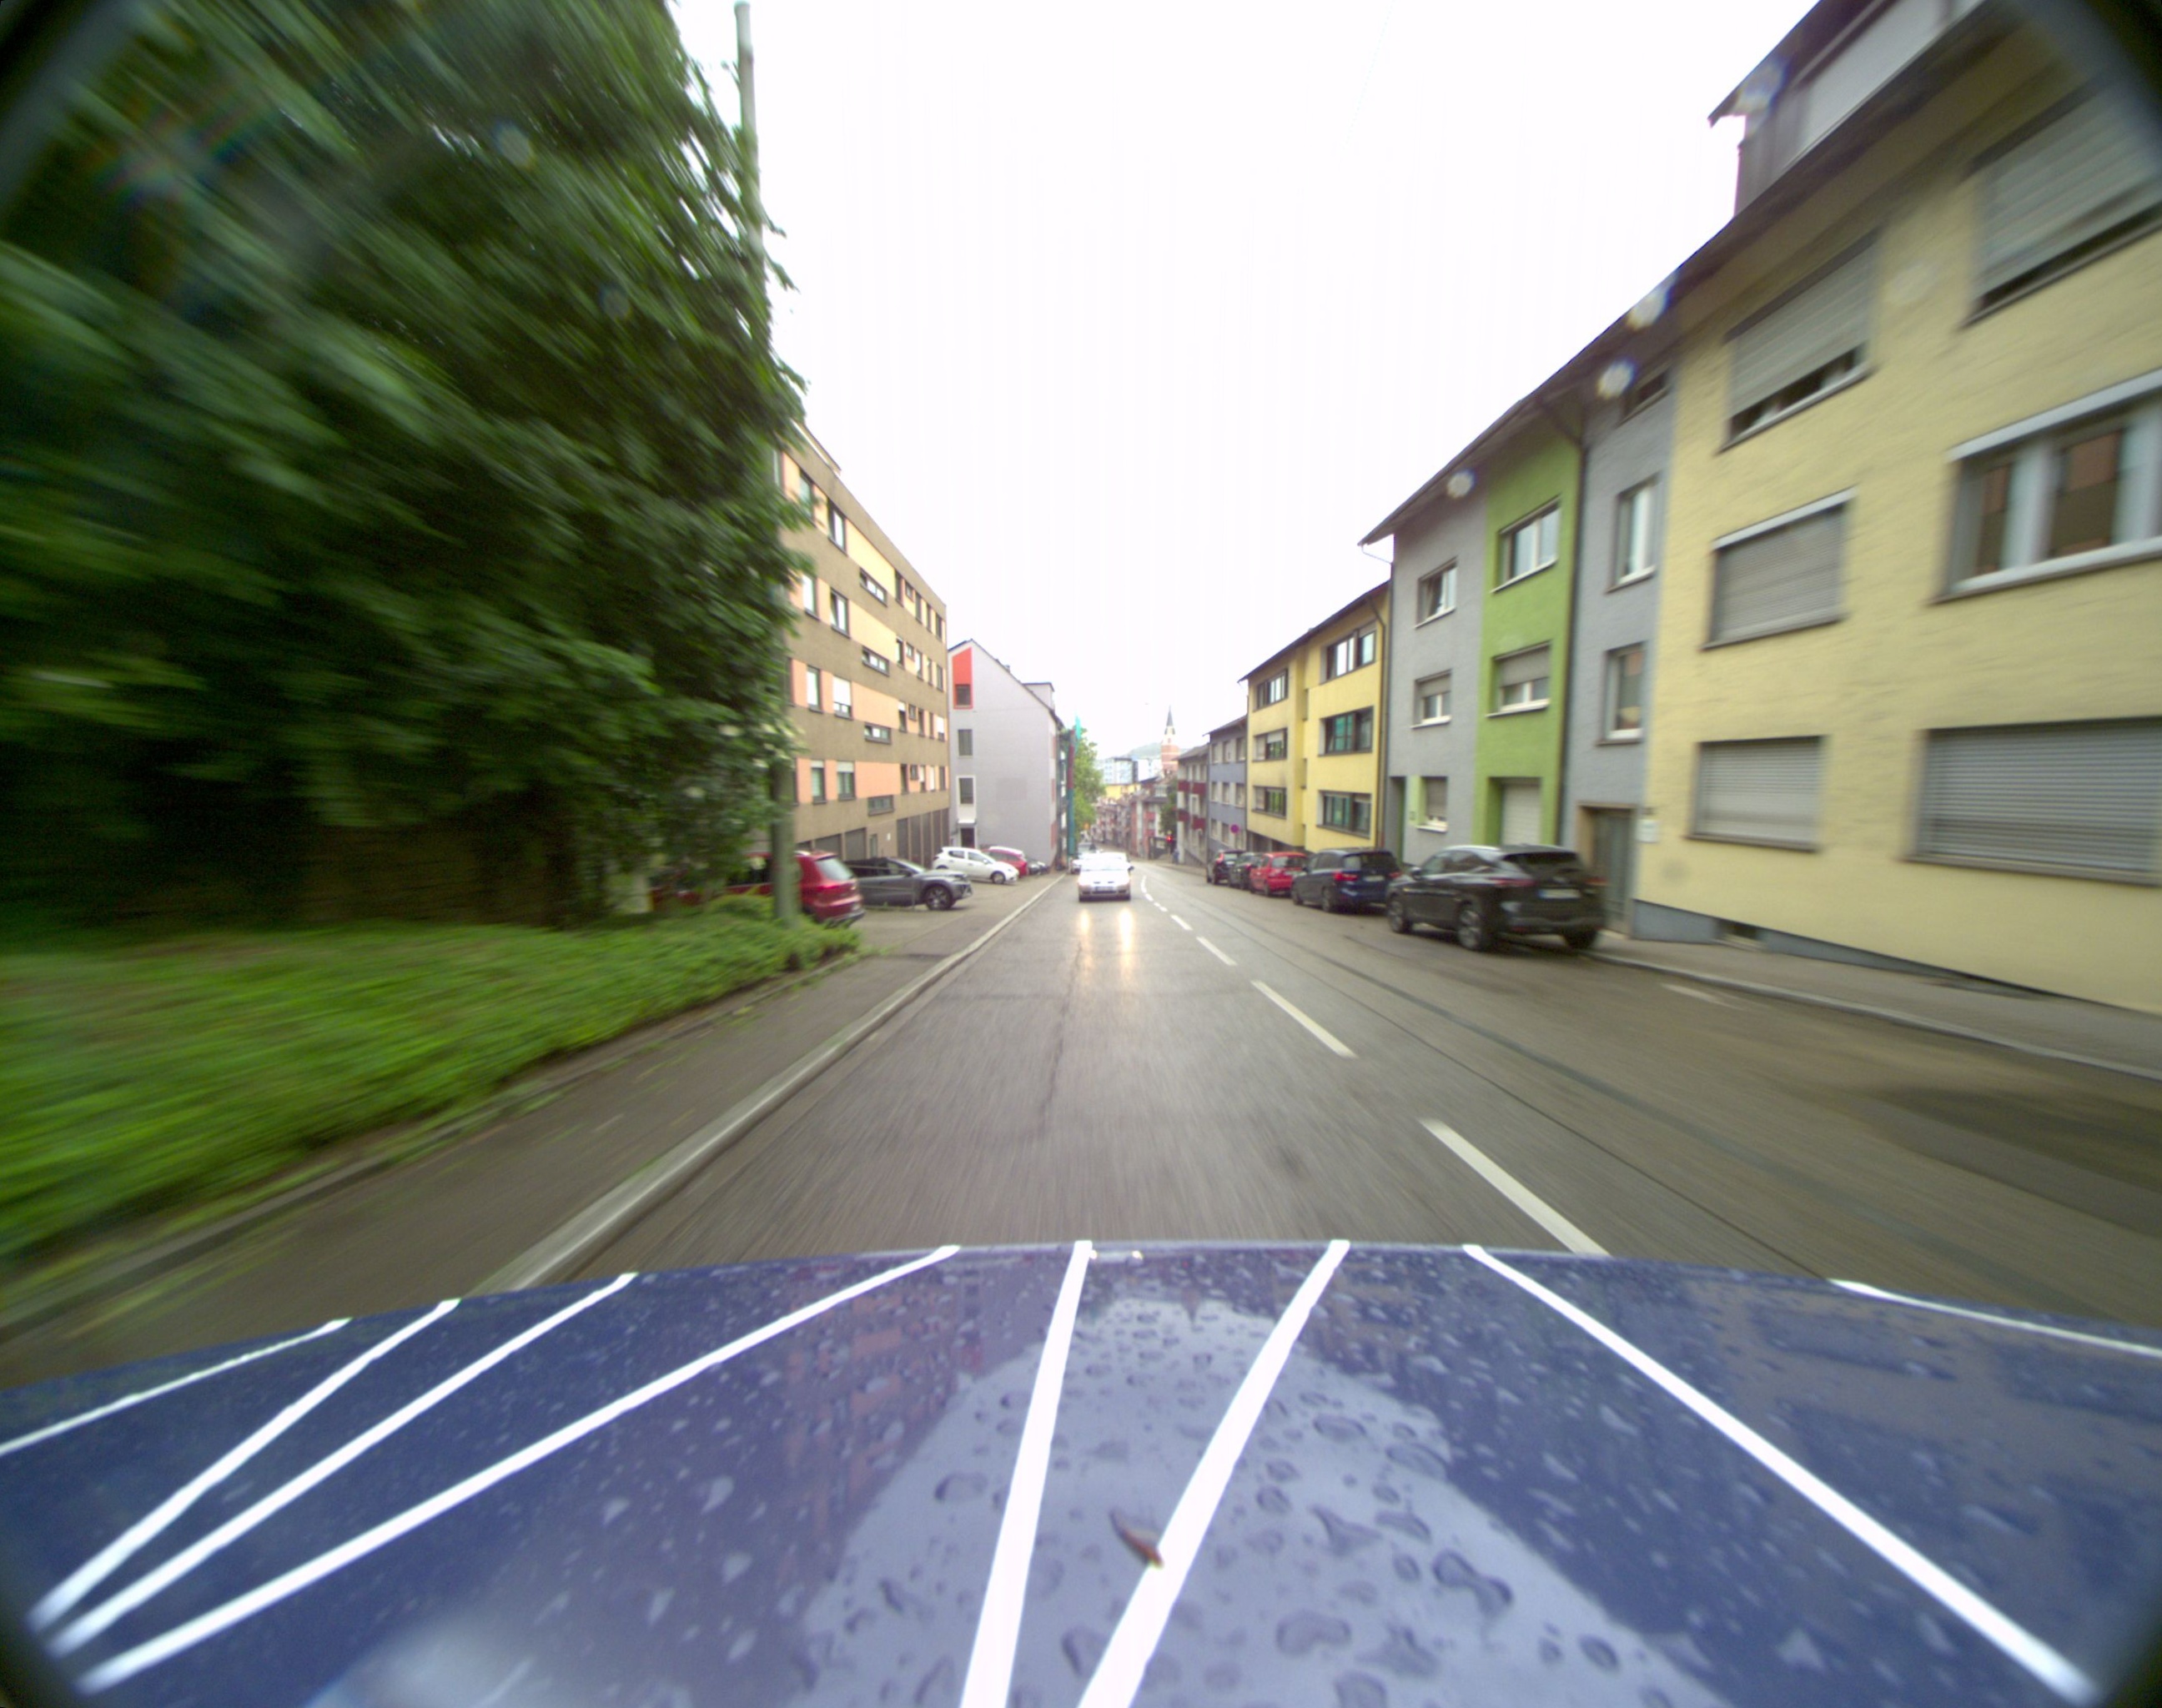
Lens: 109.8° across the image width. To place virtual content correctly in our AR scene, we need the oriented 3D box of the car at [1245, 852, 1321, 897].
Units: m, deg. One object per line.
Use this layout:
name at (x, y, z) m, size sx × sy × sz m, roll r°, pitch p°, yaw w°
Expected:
car at (7.016, 0.658, 26.721) m, size 1.733 × 1.464 × 3.491 m, roll 0°, pitch 0°, yaw 0°

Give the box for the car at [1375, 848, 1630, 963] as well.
car at (6.648, 0.702, 12.632) m, size 1.858 × 1.576 × 4.304 m, roll 0°, pitch 0°, yaw 0°

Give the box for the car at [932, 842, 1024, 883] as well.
car at (-4.721, 0.388, 35.290) m, size 3.972 × 1.521 × 1.692 m, roll 5°, pitch 1°, yaw -3°

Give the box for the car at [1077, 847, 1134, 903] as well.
car at (0.781, 0.645, 25.469) m, size 1.720 × 1.528 × 3.998 m, roll -2°, pitch 3°, yaw 0°

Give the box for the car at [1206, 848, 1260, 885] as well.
car at (7.276, 0.566, 36.813) m, size 1.998 × 1.640 × 4.442 m, roll 0°, pitch 0°, yaw 3°

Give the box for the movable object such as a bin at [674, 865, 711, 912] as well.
movable object such as a bin at (-9.335, 0.813, 18.252) m, size 0.508 × 1.055 × 0.603 m, roll -2°, pitch 3°, yaw 1°

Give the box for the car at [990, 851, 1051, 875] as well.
car at (-3.930, 0.579, 49.690) m, size 3.812 × 1.541 × 1.660 m, roll 0°, pitch 1°, yaw 0°

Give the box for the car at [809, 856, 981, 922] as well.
car at (-4.980, 0.913, 20.779) m, size 4.209 × 1.487 × 1.759 m, roll -3°, pitch 1°, yaw -1°

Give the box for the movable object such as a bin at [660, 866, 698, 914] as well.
movable object such as a bin at (-9.324, 0.828, 17.644) m, size 0.508 × 1.055 × 0.603 m, roll -2°, pitch 3°, yaw 1°

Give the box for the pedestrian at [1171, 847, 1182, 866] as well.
pedestrian at (9.601, 0.260, 76.214) m, size 0.871 × 1.526 × 1.091 m, roll -2°, pitch -21°, yaw 0°

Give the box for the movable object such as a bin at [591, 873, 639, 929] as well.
movable object such as a bin at (-9.325, 0.934, 15.215) m, size 0.508 × 1.055 × 0.603 m, roll -2°, pitch 3°, yaw 1°

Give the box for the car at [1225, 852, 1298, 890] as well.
car at (7.402, 0.660, 31.590) m, size 1.998 × 1.464 × 4.348 m, roll 0°, pitch 0°, yaw 0°

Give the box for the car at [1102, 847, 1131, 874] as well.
car at (2.320, 0.409, 50.398) m, size 1.720 × 1.528 × 3.998 m, roll -2°, pitch 3°, yaw 1°

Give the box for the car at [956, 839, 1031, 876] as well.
car at (-4.870, 0.207, 42.665) m, size 3.836 × 1.692 × 1.728 m, roll 5°, pitch 1°, yaw -1°

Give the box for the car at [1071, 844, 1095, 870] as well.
car at (0.130, 0.216, 54.072) m, size 1.644 × 1.752 × 4.000 m, roll -2°, pitch 0°, yaw 0°

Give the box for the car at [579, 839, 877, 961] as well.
car at (-5.903, 0.733, 13.114) m, size 4.209 × 1.724 × 1.759 m, roll -3°, pitch 1°, yaw -3°

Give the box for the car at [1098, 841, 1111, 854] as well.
car at (3.006, -0.823, 96.782) m, size 1.637 × 1.521 × 4.000 m, roll -2°, pitch 0°, yaw 3°

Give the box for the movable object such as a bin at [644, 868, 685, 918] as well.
movable object such as a bin at (-9.333, 0.864, 17.036) m, size 0.508 × 1.055 × 0.603 m, roll -2°, pitch 3°, yaw 1°

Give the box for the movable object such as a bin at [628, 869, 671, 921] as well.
movable object such as a bin at (-9.313, 0.873, 16.425) m, size 0.508 × 1.055 × 0.603 m, roll -2°, pitch 3°, yaw 1°

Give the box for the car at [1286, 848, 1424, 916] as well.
car at (6.975, 0.646, 19.911) m, size 1.998 × 1.576 × 4.471 m, roll 0°, pitch 0°, yaw 0°

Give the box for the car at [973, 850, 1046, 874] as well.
car at (-4.342, 0.478, 46.490) m, size 4.279 × 1.458 × 1.893 m, roll 0°, pitch 1°, yaw 0°

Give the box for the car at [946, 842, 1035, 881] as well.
car at (-4.759, 0.377, 40.332) m, size 4.352 × 1.521 × 1.876 m, roll 6°, pitch 1°, yaw 0°
